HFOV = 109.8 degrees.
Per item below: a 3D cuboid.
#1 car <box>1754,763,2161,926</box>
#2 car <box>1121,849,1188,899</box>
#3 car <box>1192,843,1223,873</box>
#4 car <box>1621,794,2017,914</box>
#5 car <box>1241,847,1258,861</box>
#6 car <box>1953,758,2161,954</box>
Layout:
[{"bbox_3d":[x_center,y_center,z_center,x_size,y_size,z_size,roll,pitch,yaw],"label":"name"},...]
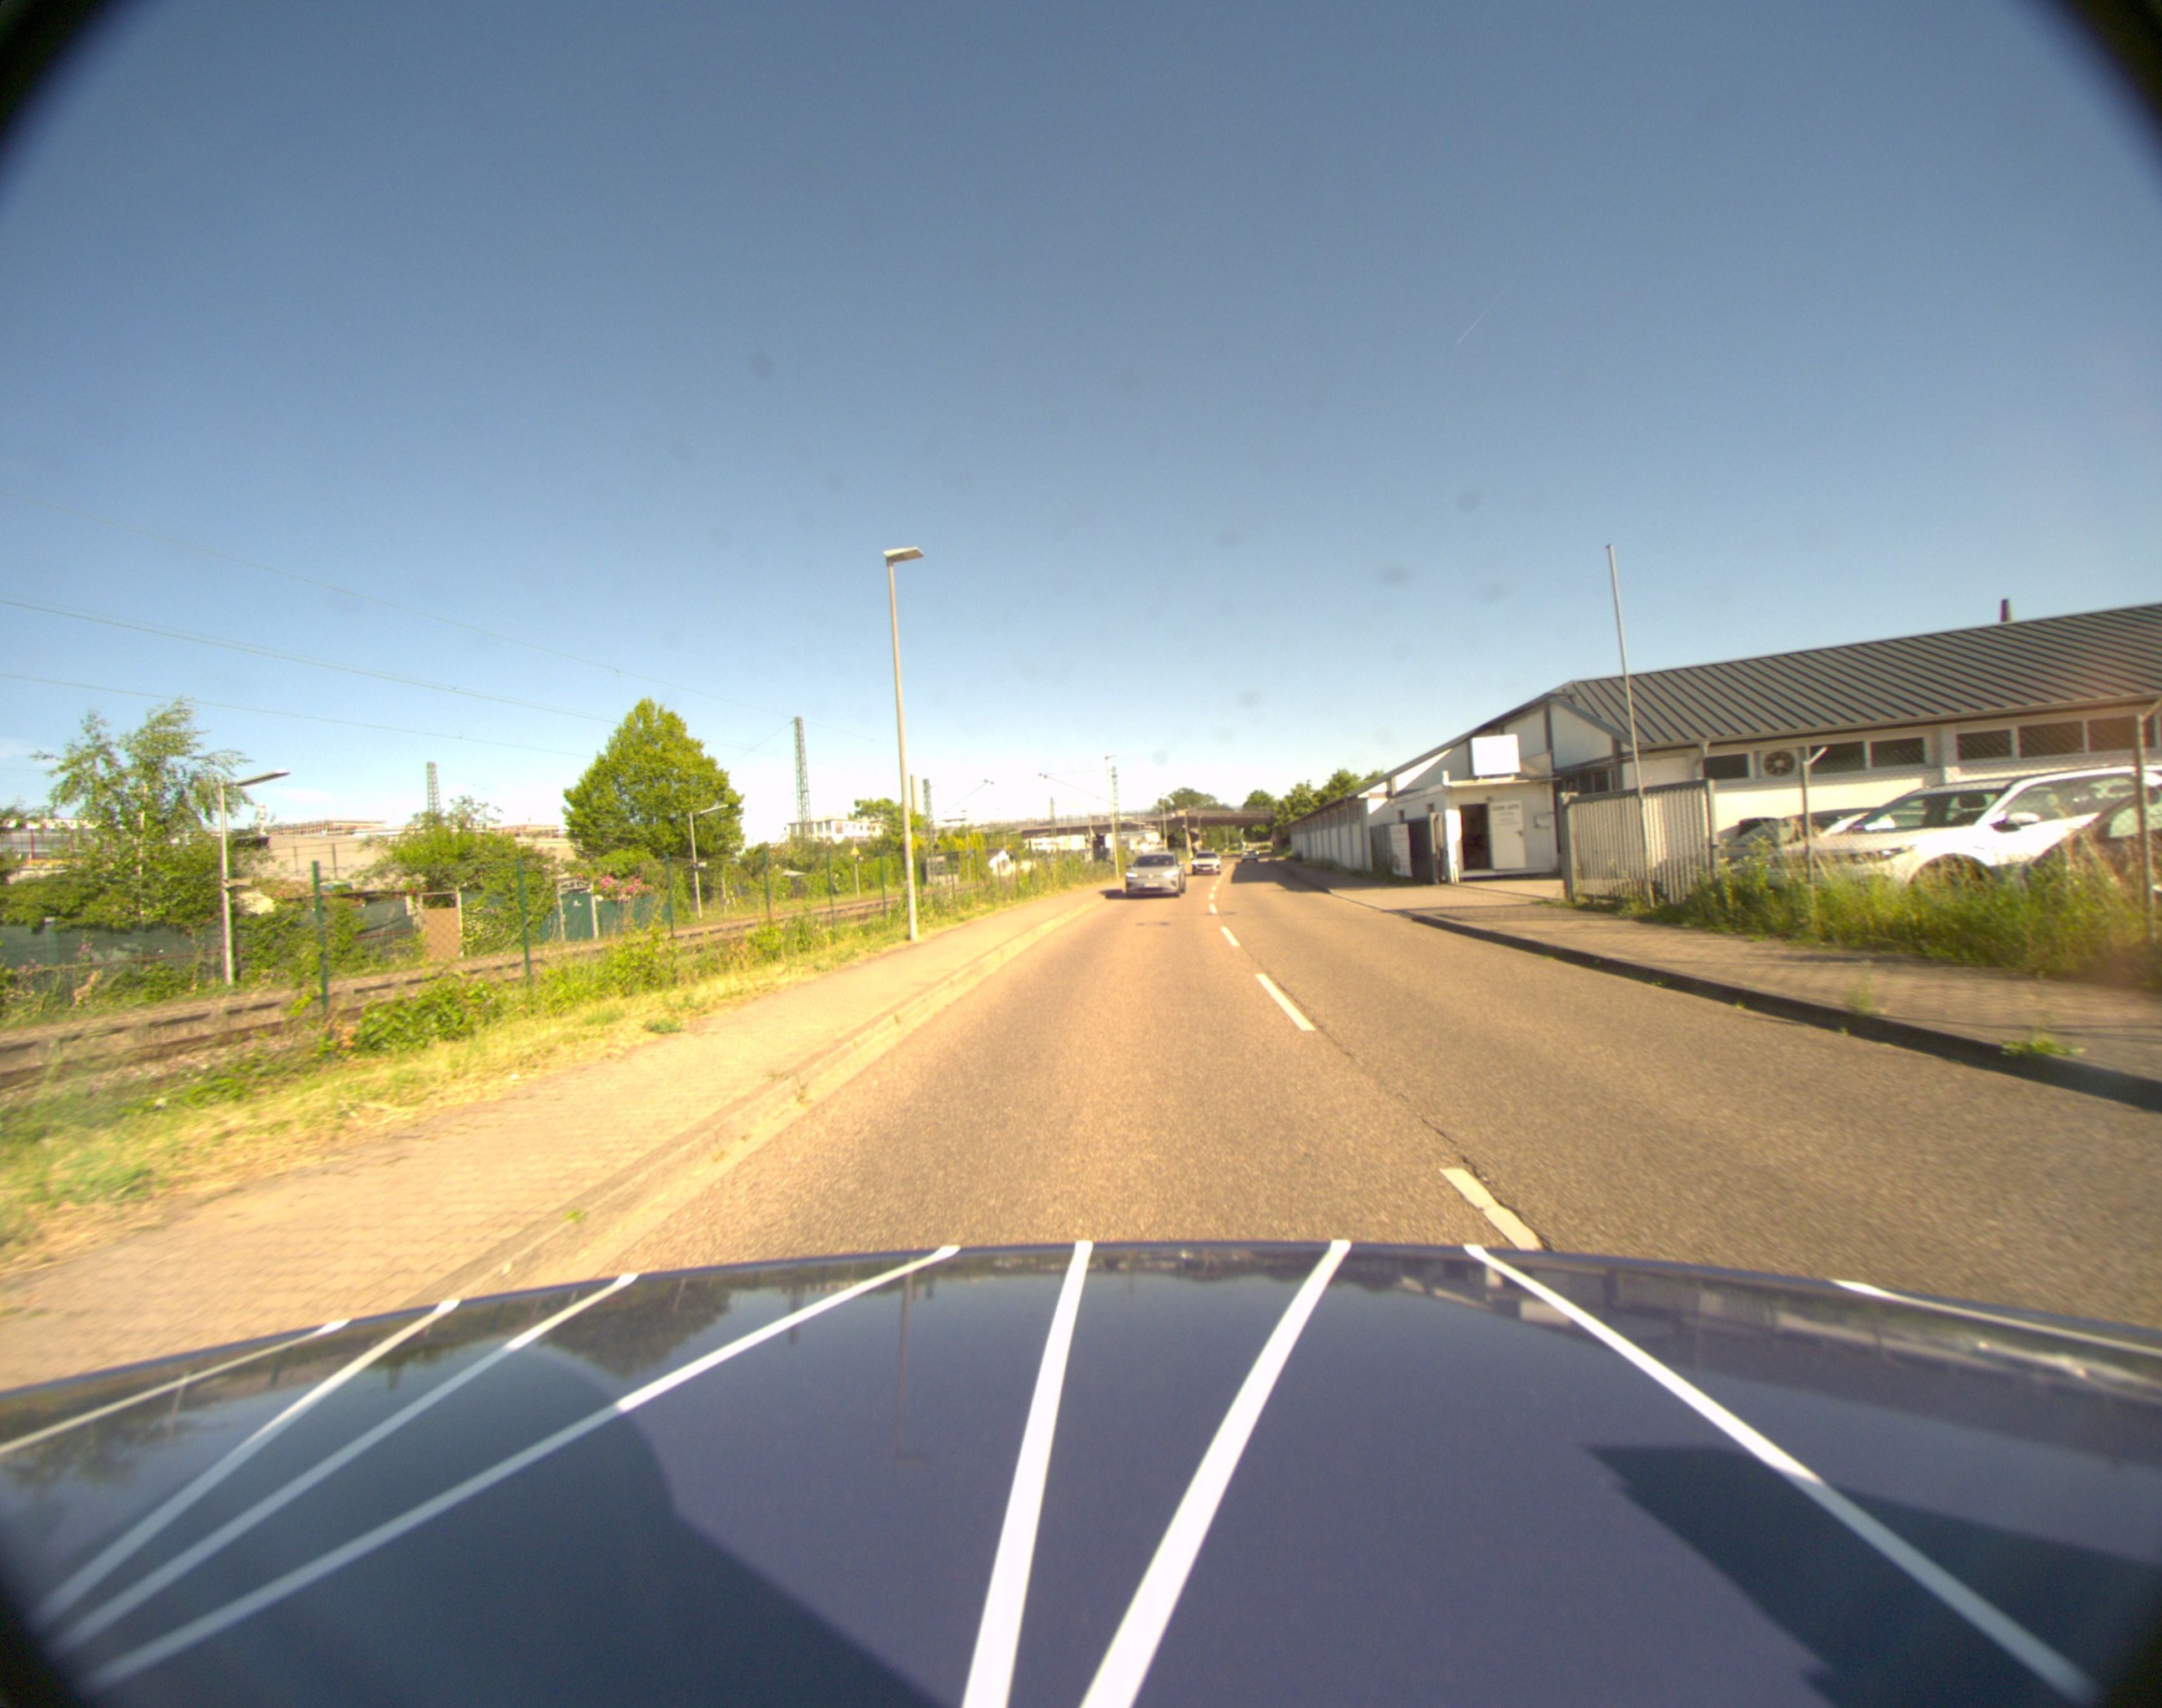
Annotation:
[{"bbox_3d":[11.406,-0.156,9.532,4.402,1.639,1.840,-4,0,-4],"label":"car"},{"bbox_3d":[2.748,0.649,27.401,1.848,1.621,4.299,-2,0,13],"label":"car"},{"bbox_3d":[8.305,0.208,49.834,1.881,1.814,4.298,-2,1,10],"label":"car"},{"bbox_3d":[11.553,0.003,12.162,4.400,1.498,1.840,-4,0,2],"label":"car"},{"bbox_3d":[19.253,0.030,86.994,1.811,1.469,4.691,-2,0,11],"label":"car"},{"bbox_3d":[11.221,-0.121,6.916,4.400,1.639,1.840,-4,0,0],"label":"car"}]
